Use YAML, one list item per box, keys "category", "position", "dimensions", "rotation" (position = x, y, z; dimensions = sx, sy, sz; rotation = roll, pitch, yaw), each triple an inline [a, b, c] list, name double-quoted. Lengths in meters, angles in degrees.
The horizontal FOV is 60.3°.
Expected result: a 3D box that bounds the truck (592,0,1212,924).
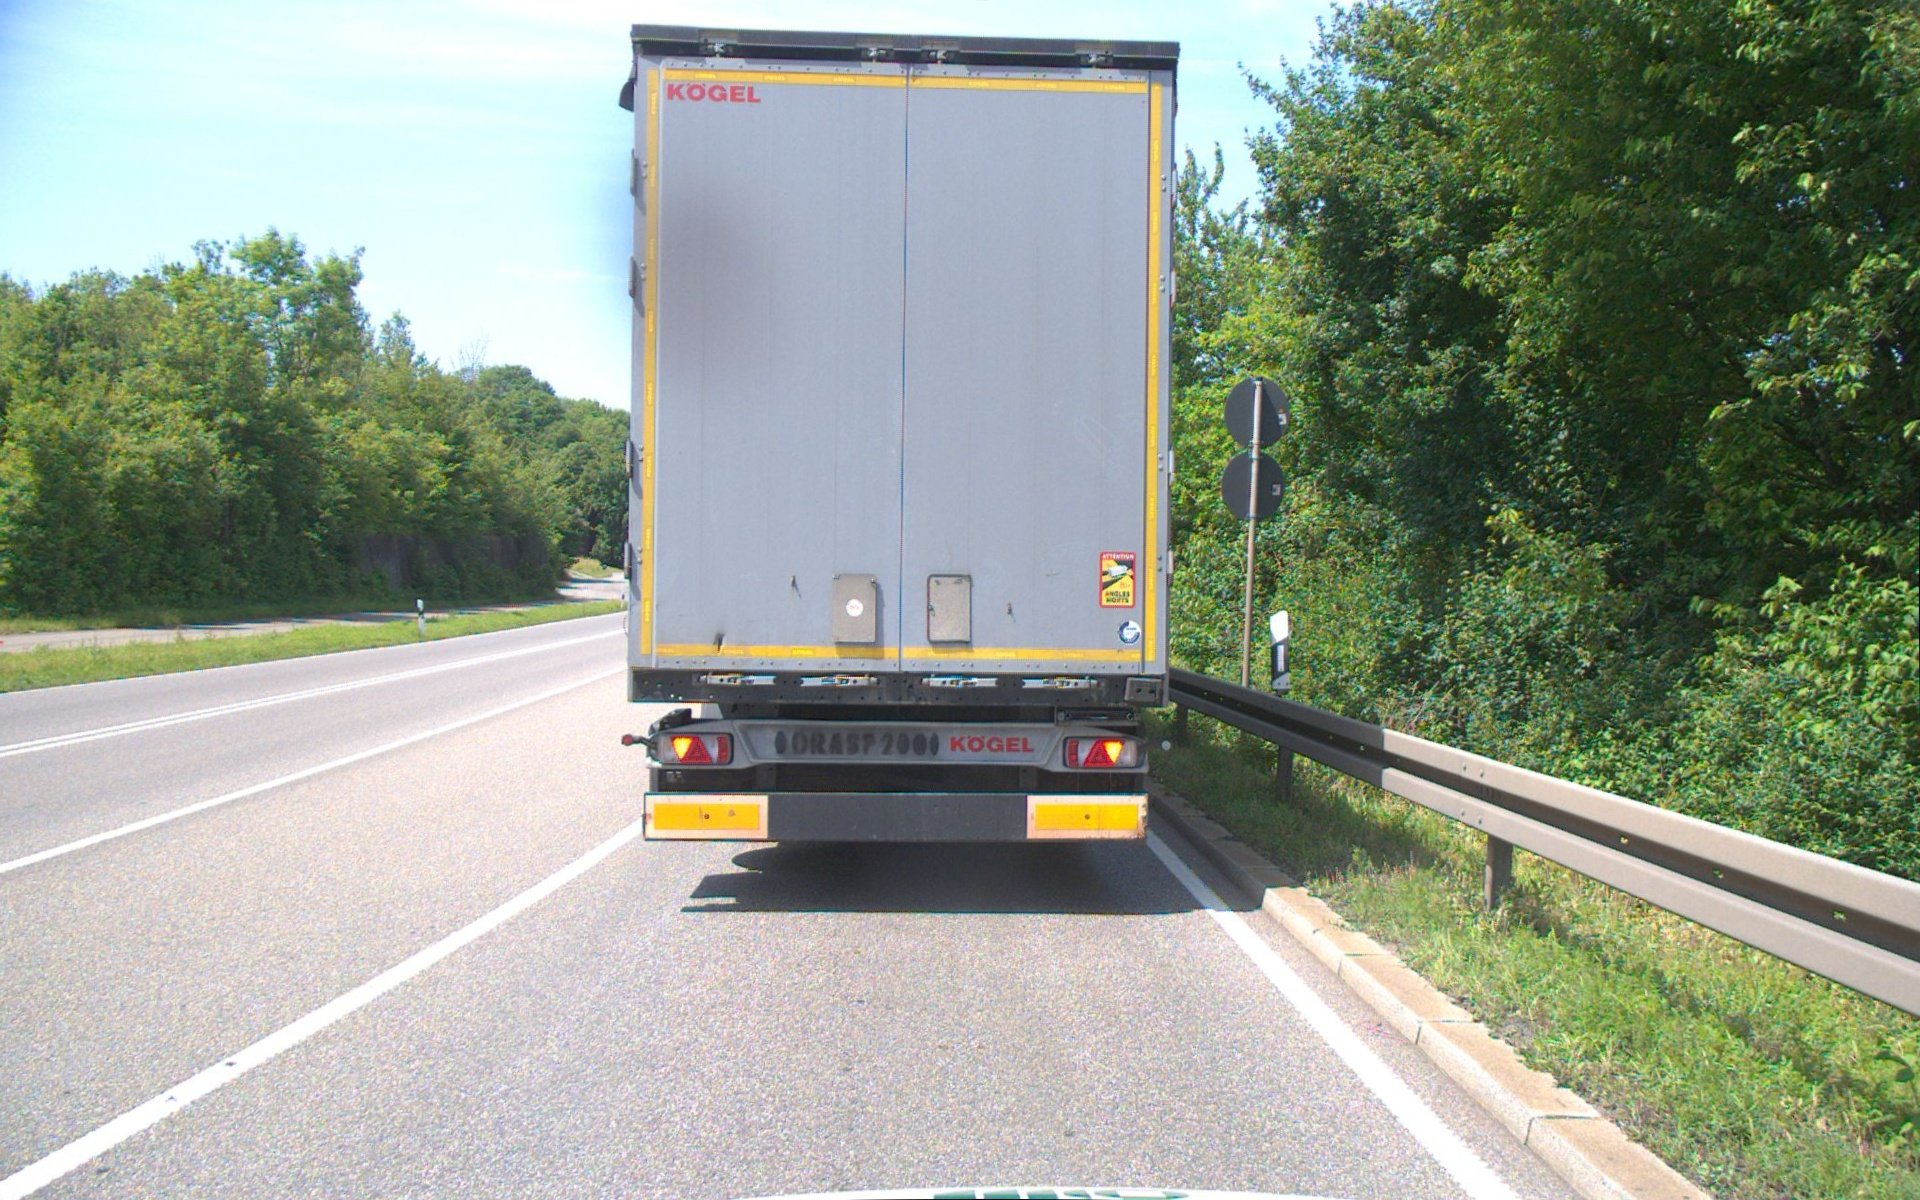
- category: "truck"
  position: [-0.405, -0.662, 13.292]
  dimensions: [2.701, 4.100, 11.920]
  rotation: [1, 0, -2]
